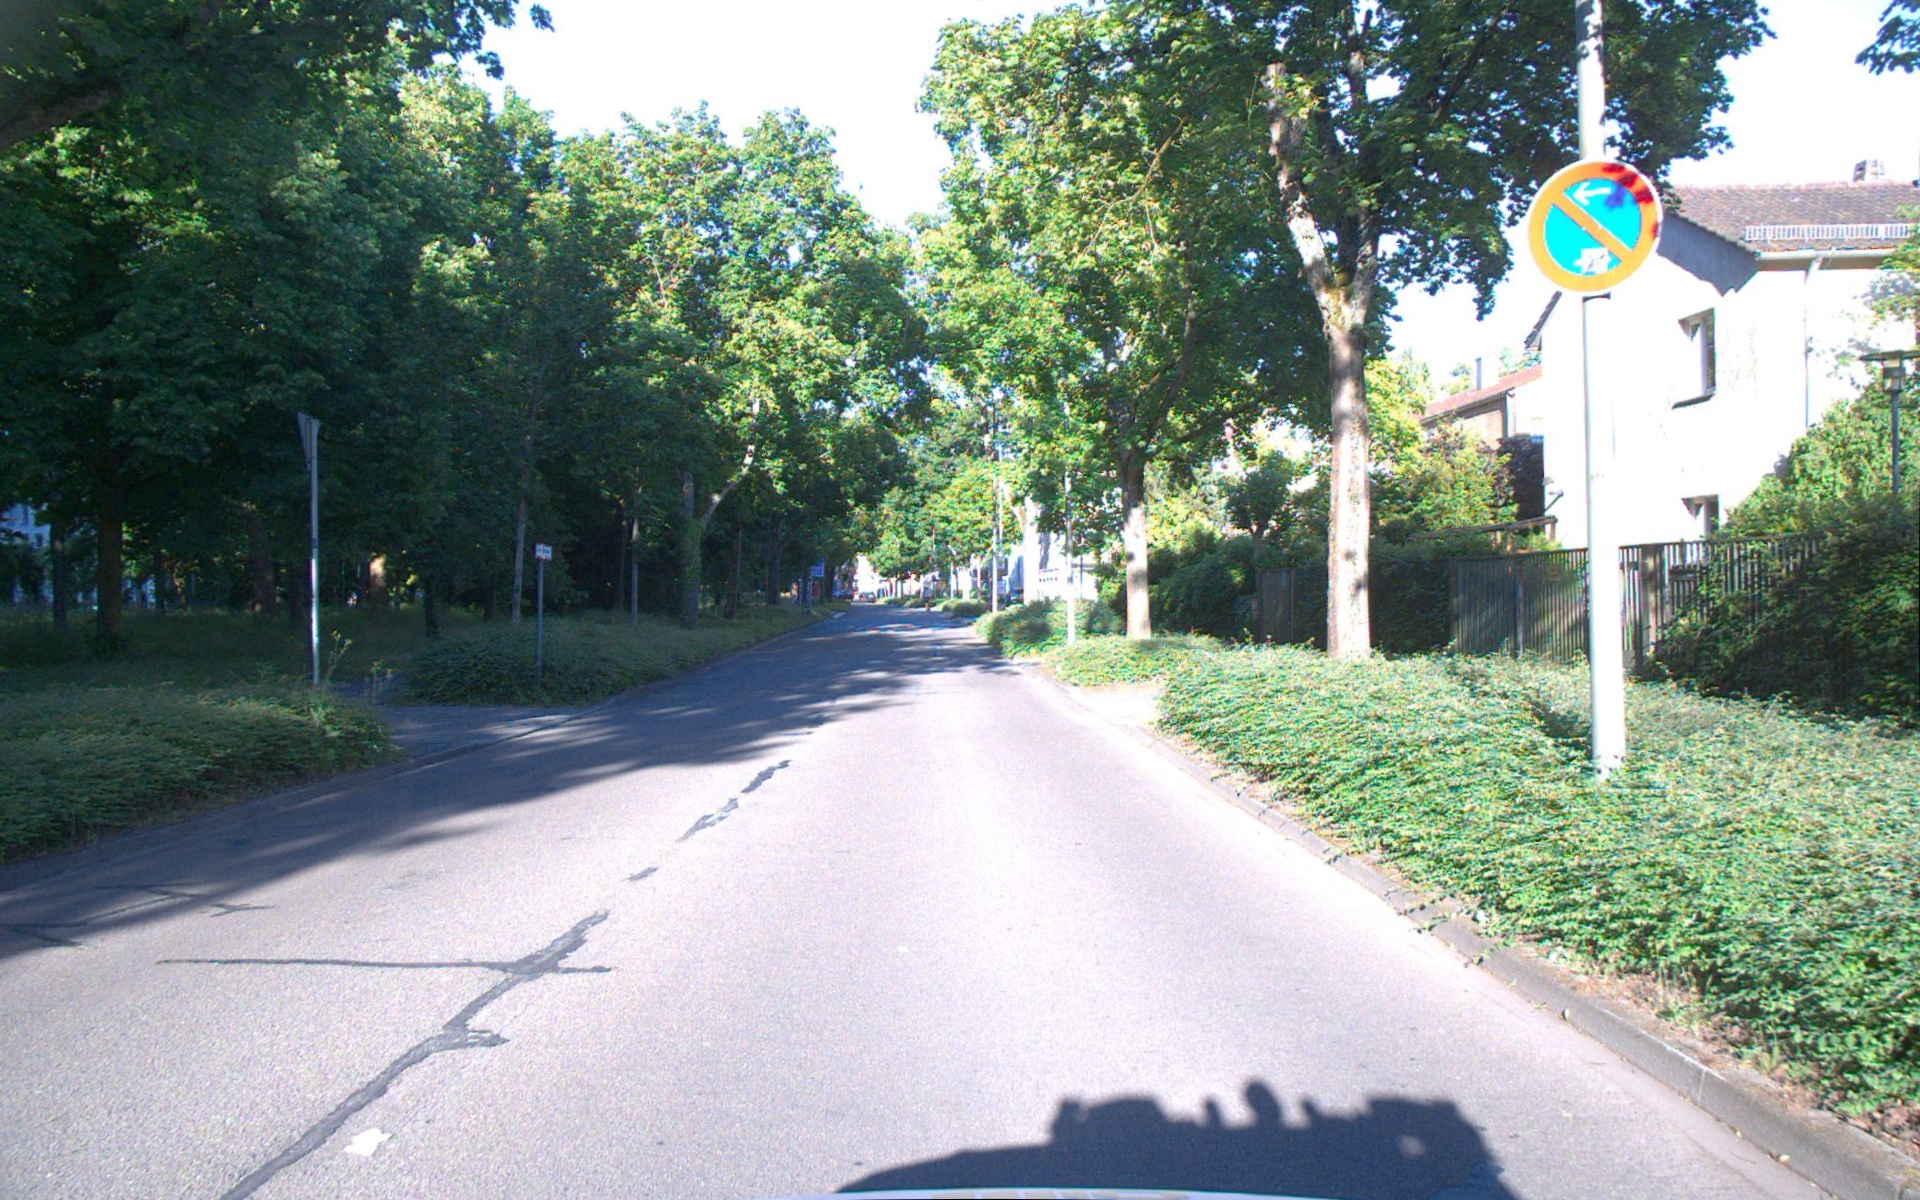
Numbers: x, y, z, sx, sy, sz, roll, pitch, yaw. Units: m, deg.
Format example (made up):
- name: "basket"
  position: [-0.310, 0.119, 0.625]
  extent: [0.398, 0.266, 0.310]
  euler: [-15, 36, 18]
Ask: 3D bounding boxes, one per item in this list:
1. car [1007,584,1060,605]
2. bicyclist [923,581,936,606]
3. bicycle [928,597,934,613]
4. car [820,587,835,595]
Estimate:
- name: "car"
  position: [6.025, -0.426, 135.408]
  extent: [4.259, 1.377, 2.145]
  euler: [3, 4, 4]
- name: "bicyclist"
  position: [-2.064, -0.463, 113.208]
  extent: [0.849, 1.669, 1.114]
  euler: [0, 2, -2]
- name: "bicycle"
  position: [-1.987, 0.351, 113.220]
  extent: [0.430, 0.995, 1.661]
  euler: [-1, 2, -2]
- name: "car"
  position: [-20.829, -1.426, 260.770]
  extent: [1.958, 1.378, 3.531]
  euler: [0, 0, -11]
